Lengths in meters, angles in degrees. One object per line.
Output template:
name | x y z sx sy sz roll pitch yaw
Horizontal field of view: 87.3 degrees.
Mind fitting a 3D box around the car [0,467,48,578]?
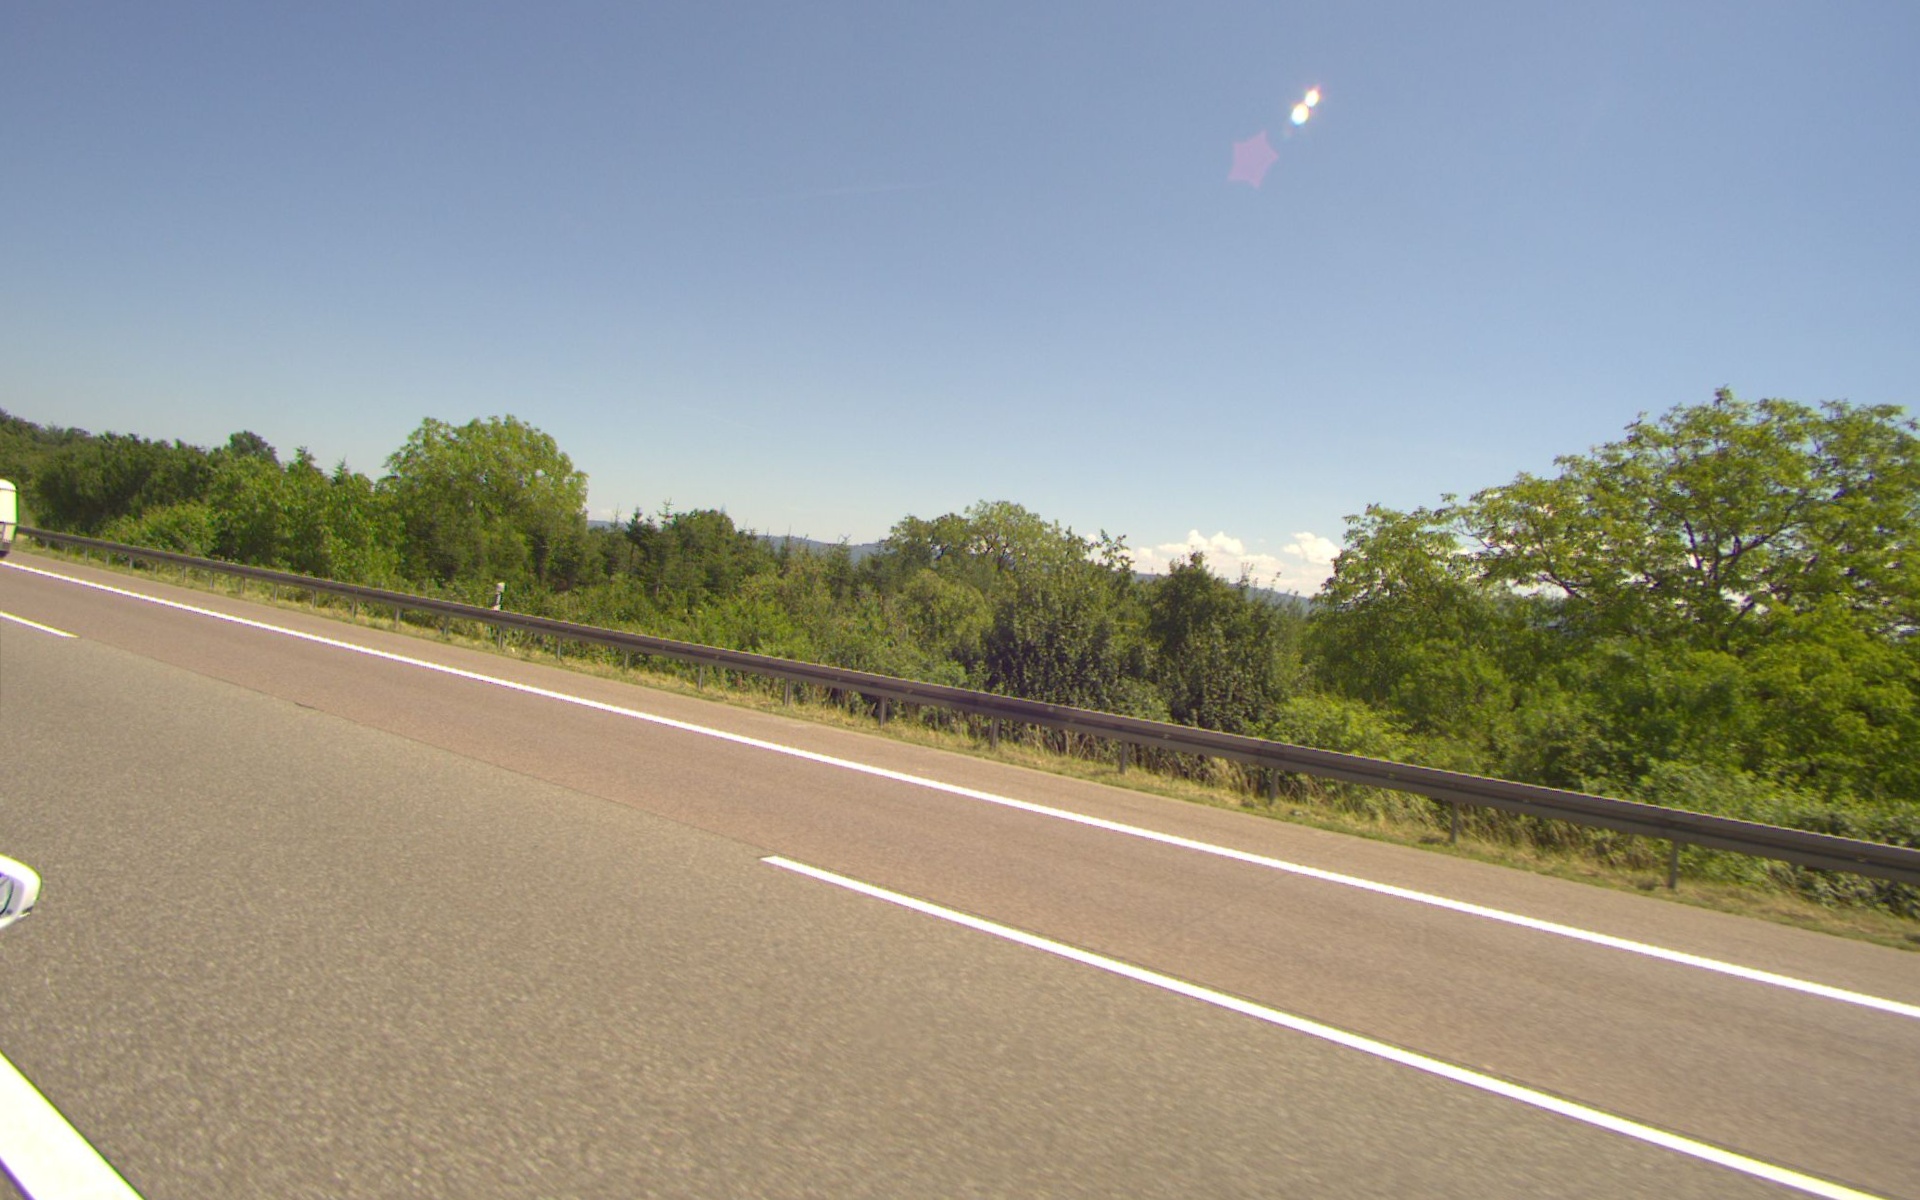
car | -23.605 -2.083 23.167 5.234 2.350 2.445 8 1 33
